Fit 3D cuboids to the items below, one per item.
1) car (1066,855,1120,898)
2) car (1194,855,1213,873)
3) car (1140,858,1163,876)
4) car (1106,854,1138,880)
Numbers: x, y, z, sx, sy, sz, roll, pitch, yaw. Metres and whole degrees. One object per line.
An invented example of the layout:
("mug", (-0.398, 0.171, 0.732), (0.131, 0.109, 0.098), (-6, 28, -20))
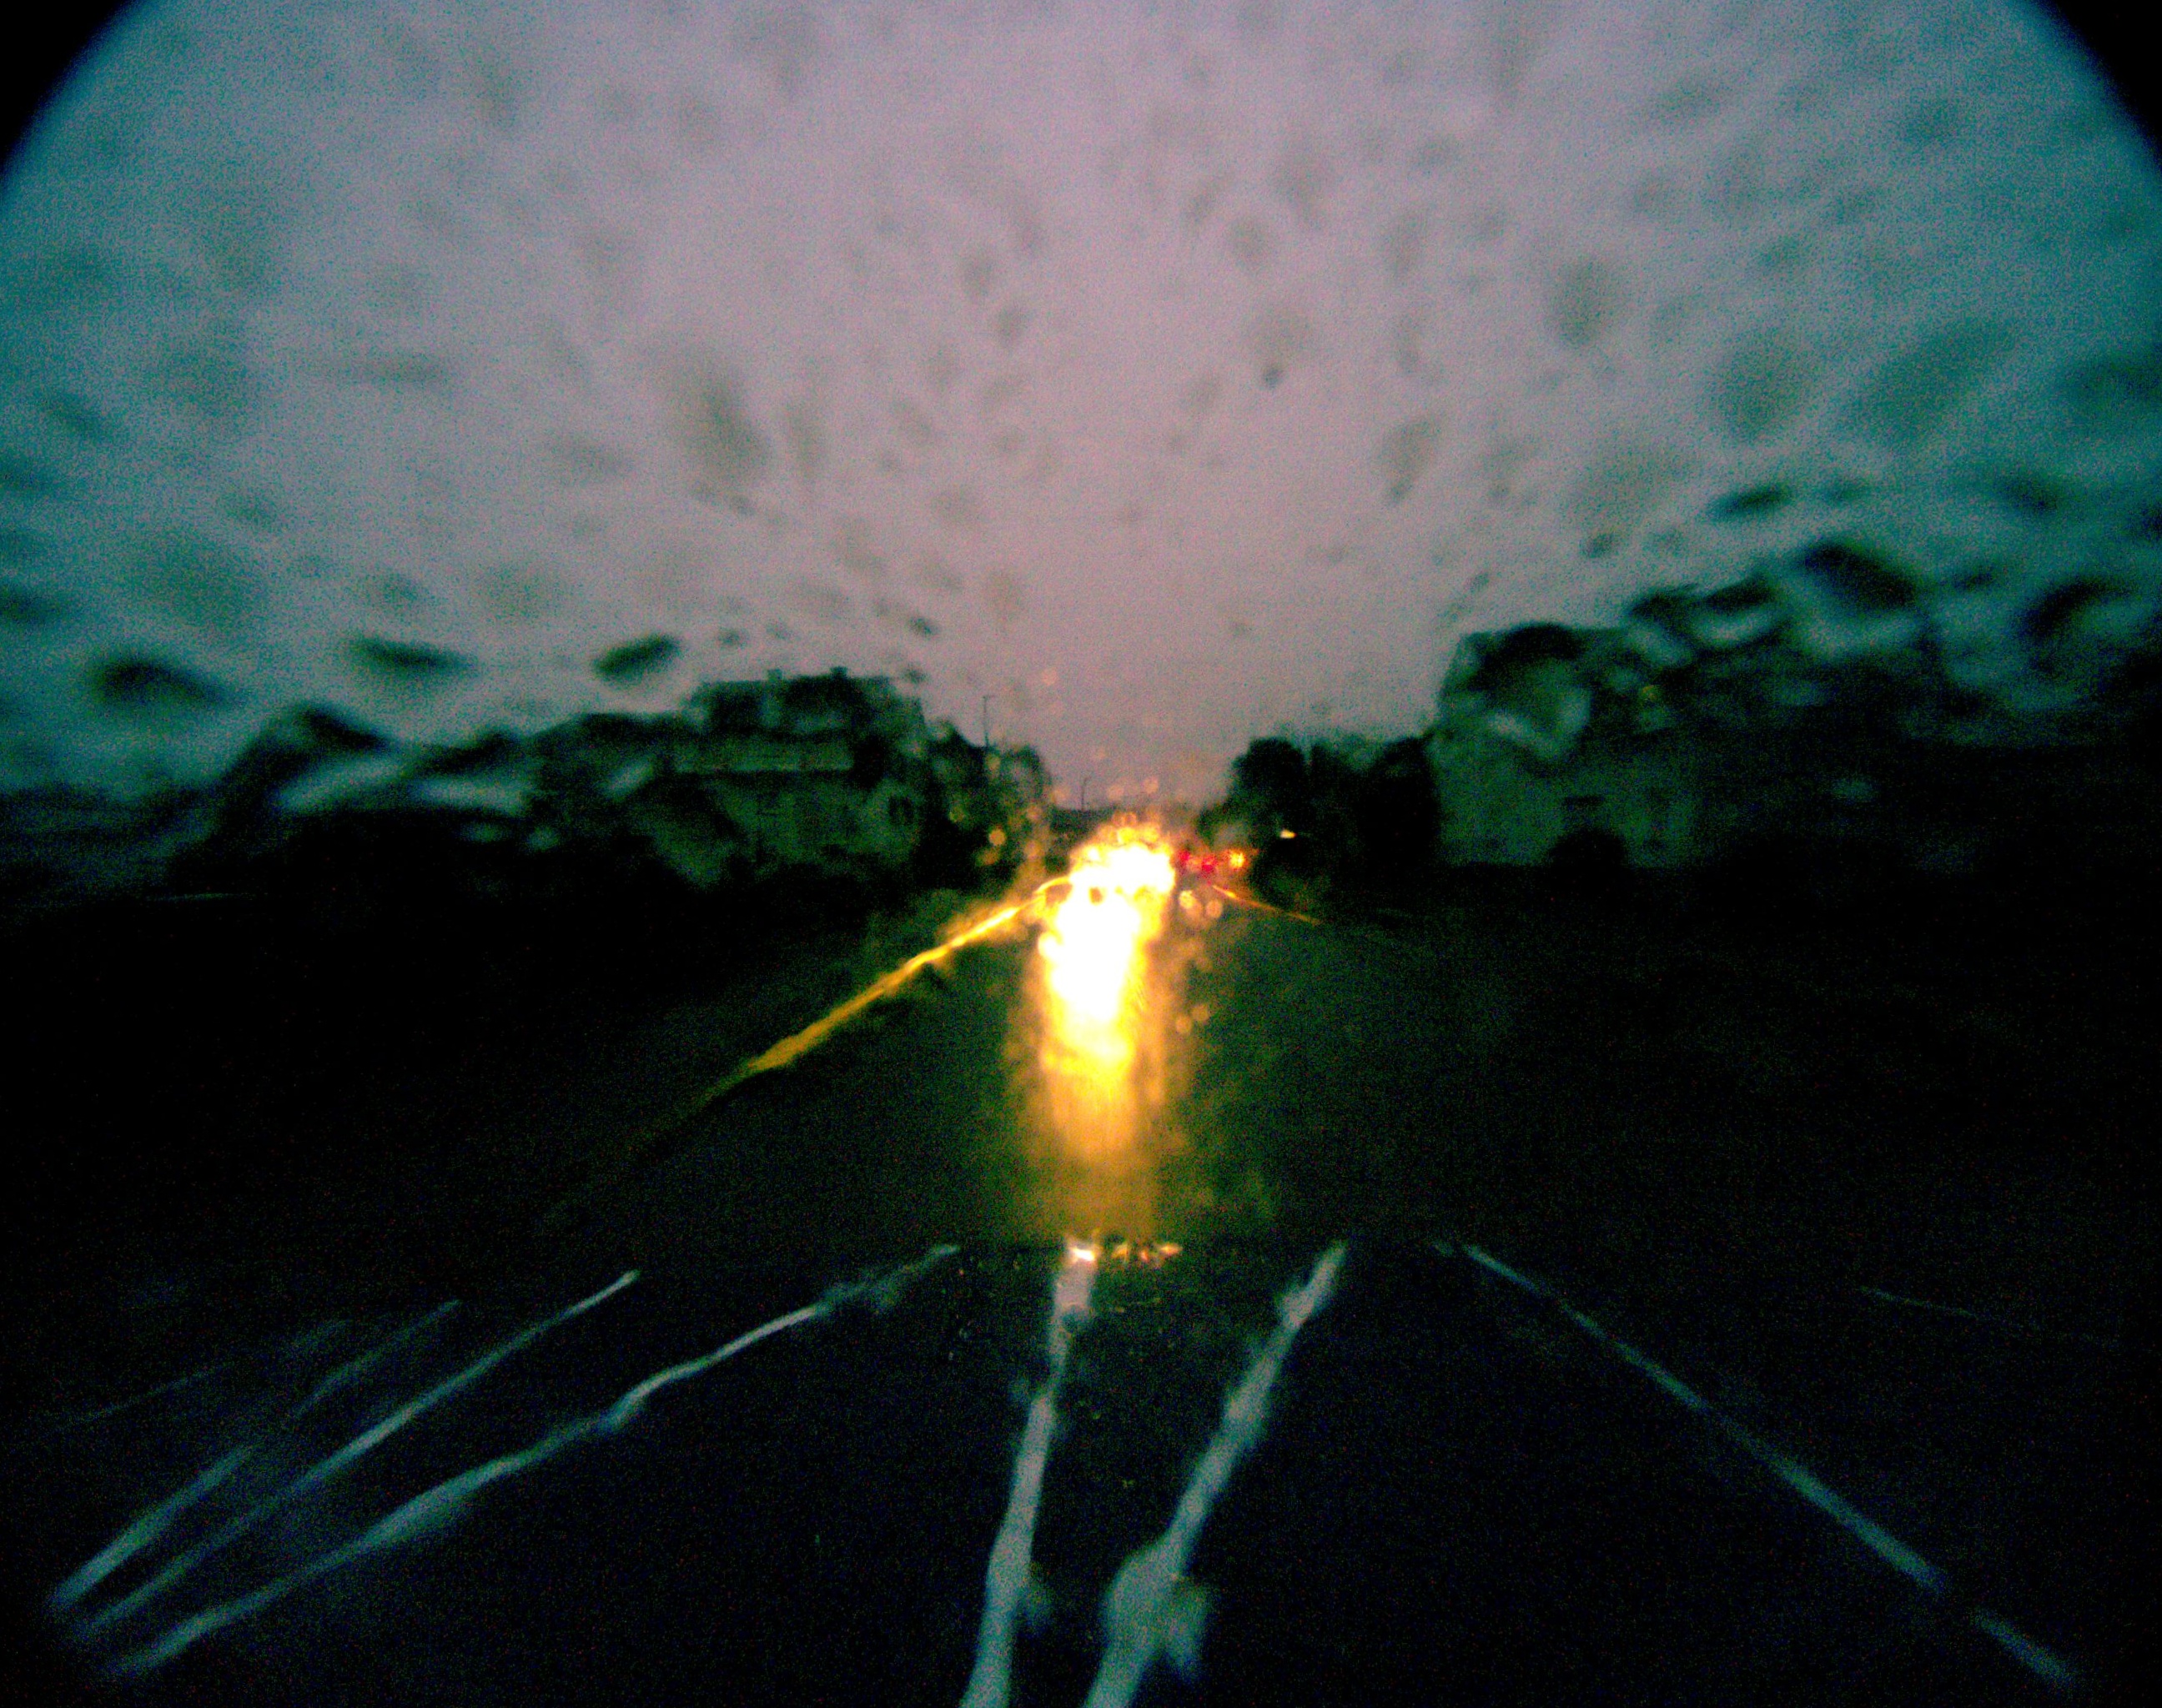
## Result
("car", (0.505, 0.838, 30.354), (1.998, 1.575, 4.000), (0, 0, 2))
("car", (13.096, 1.056, 81.144), (1.966, 1.688, 4.003), (-1, 1, 10))
("car", (6.928, 1.283, 74.254), (1.774, 1.608, 3.875), (-1, 1, 12))
("car", (2.775, 0.820, 50.801), (1.998, 1.660, 4.001), (-1, 0, 4))
